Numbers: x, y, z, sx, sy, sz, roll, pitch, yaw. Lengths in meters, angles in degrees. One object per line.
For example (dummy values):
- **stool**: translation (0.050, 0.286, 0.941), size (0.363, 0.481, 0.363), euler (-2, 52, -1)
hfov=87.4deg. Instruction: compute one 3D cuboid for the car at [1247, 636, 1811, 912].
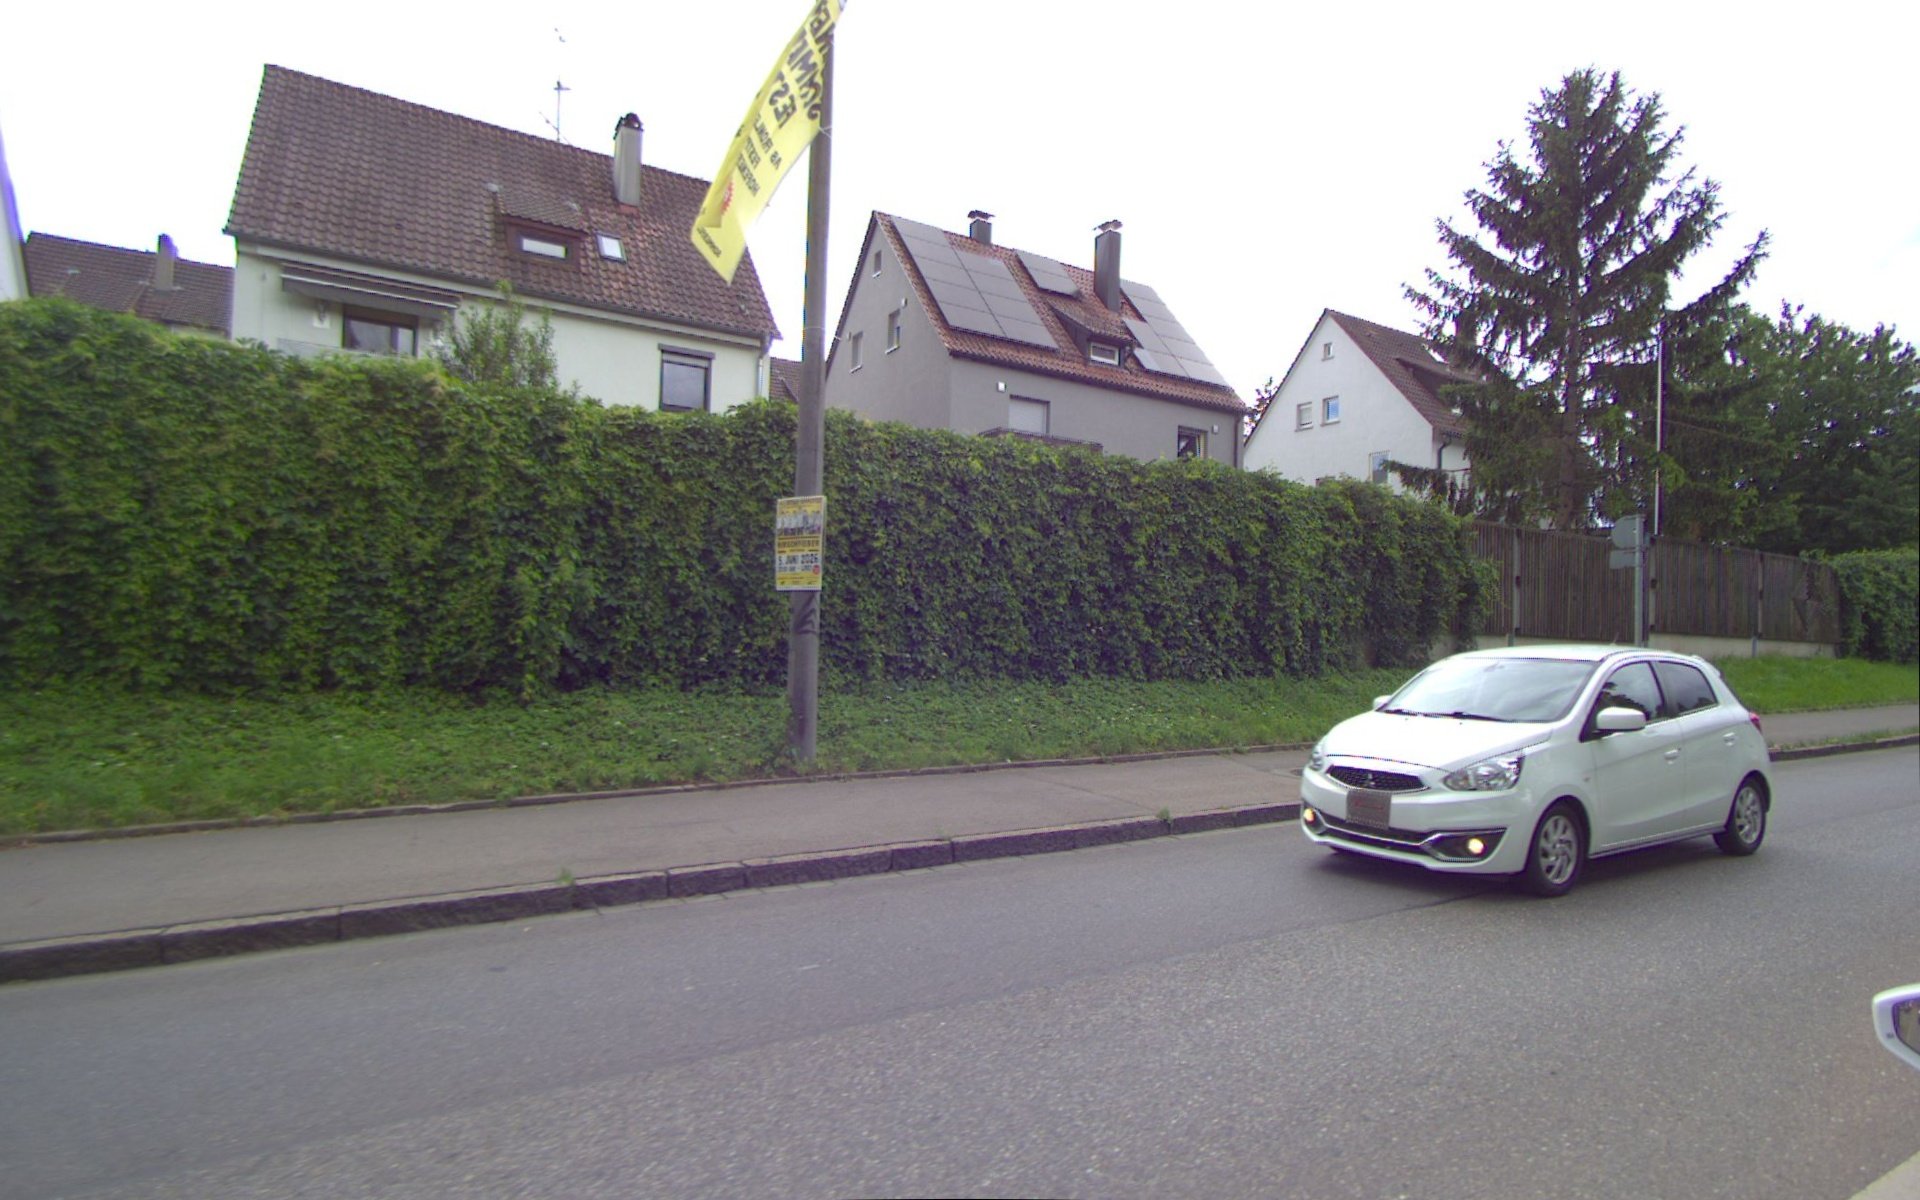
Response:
- **car**: translation (4.112, 1.037, 7.140), size (4.023, 1.480, 1.611), euler (1, -5, -30)
